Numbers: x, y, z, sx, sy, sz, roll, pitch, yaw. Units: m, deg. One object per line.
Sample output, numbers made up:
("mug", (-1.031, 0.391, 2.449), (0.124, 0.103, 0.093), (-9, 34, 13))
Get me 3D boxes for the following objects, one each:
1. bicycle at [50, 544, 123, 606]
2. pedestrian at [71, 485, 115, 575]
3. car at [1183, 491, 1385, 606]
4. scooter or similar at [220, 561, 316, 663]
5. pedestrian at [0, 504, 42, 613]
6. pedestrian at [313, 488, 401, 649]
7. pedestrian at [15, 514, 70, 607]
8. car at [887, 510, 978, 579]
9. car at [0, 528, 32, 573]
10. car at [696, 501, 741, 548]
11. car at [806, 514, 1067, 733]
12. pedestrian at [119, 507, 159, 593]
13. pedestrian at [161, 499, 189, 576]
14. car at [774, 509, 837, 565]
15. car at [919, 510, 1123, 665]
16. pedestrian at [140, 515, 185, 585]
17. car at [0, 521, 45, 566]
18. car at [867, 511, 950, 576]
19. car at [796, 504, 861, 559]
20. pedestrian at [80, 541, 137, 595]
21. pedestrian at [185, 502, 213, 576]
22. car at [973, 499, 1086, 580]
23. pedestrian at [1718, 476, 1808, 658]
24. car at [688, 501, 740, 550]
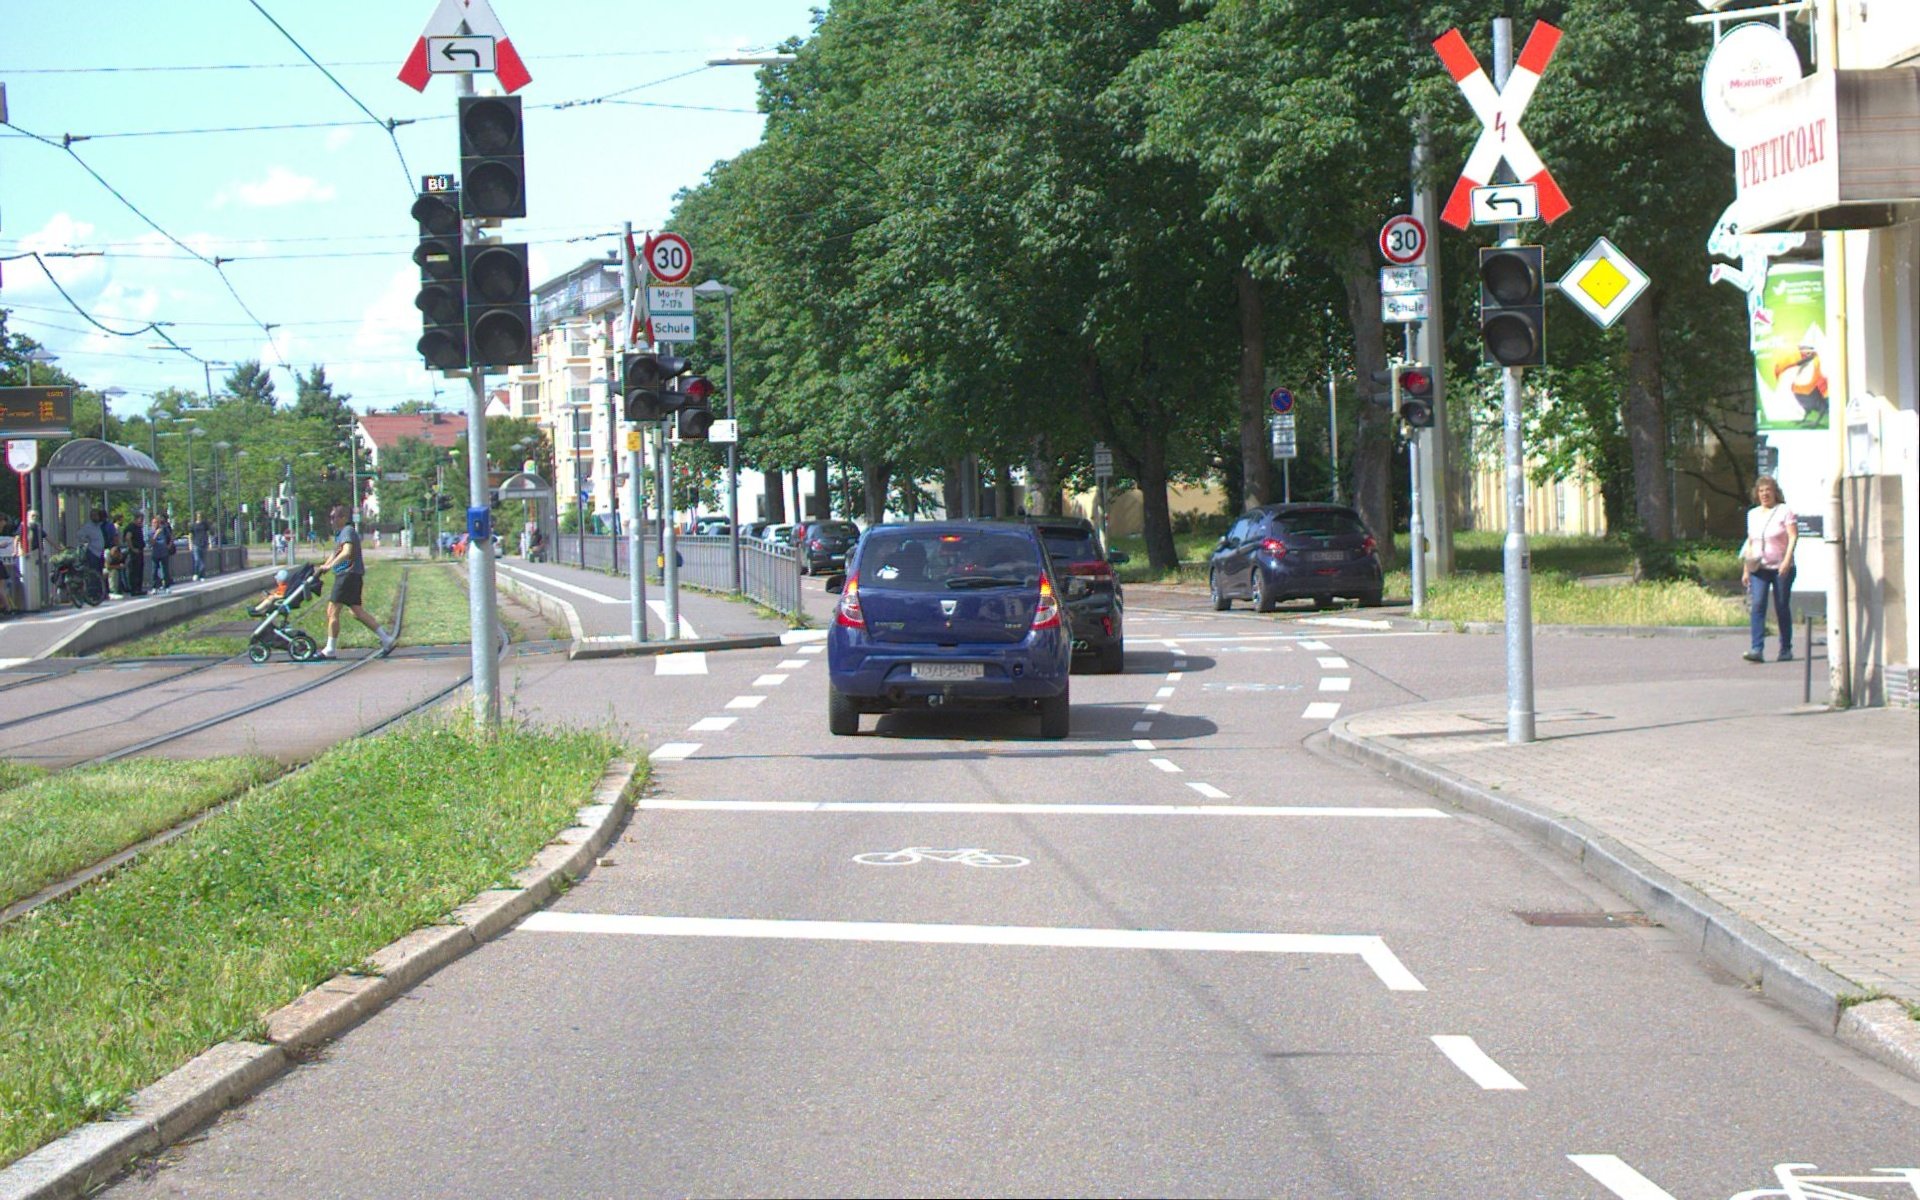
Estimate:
("bicycle", (-15.106, -0.438, 59.504), (0.686, 0.971, 1.771), (-4, 2, 2))
("pedestrian", (-16.634, -1.346, 65.956), (0.655, 1.686, 0.656), (-3, 2, -7))
("car", (4.381, -0.724, 47.051), (1.765, 1.428, 3.905), (-3, 2, -9))
("scooter or similar", (-7.756, 0.123, 38.580), (0.954, 1.061, 0.797), (-4, 2, -8))
("pedestrian", (-15.150, -0.660, 54.734), (0.713, 1.720, 0.666), (-1, 2, 34))
("pedestrian", (-6.832, -0.361, 38.985), (0.870, 1.769, 1.004), (-3, 1, -8))
("pedestrian", (-15.912, -0.694, 59.639), (0.663, 1.564, 0.686), (-3, 1, 0))
("car", (-0.659, -1.308, 79.377), (1.861, 1.440, 4.001), (-3, 2, -3))
("car", (-31.615, -1.524, 109.067), (1.637, 1.381, 3.992), (-1, 2, 37))
("car", (-9.495, -2.969, 135.148), (1.667, 1.765, 4.001), (-2, 2, -4))
("car", (-0.183, 0.110, 25.256), (1.768, 1.457, 3.776), (0, 2, -1))
("pedestrian", (-17.003, -1.032, 71.203), (0.604, 1.760, 0.639), (-2, 1, 1))
("pedestrian", (-17.749, -1.411, 77.699), (0.488, 1.706, 0.464), (-3, 2, -18))
("car", (-4.991, -2.037, 110.617), (1.617, 1.744, 4.001), (-2, 2, -8))
("car", (0.537, -0.162, 33.041), (1.700, 1.363, 3.515), (1, 2, -3))
("pedestrian", (-16.663, -1.040, 71.840), (0.655, 1.421, 0.562), (-2, 2, 29))
("car", (-32.635, -1.826, 114.149), (3.989, 1.442, 1.727), (-3, 2, -42))
("car", (-1.286, -1.399, 84.086), (1.851, 1.510, 4.001), (-2, 2, -3))
("car", (-3.922, -2.050, 102.003), (1.828, 1.532, 4.001), (-3, 2, -3))
("pedestrian", (-16.657, -0.618, 67.270), (0.924, 0.985, 0.797), (-3, 0, -6))
("pedestrian", (-20.757, -1.661, 93.733), (0.660, 2.006, 0.804), (-2, 1, -13))
("car", (1.339, -1.217, 67.866), (1.861, 1.440, 4.001), (-3, 2, -3))
("pedestrian", (7.467, -0.312, 31.955), (0.673, 1.642, 0.763), (-2, 1, 20))
("car", (-9.216, -2.809, 129.038), (1.830, 1.755, 4.001), (-2, 2, -3))
